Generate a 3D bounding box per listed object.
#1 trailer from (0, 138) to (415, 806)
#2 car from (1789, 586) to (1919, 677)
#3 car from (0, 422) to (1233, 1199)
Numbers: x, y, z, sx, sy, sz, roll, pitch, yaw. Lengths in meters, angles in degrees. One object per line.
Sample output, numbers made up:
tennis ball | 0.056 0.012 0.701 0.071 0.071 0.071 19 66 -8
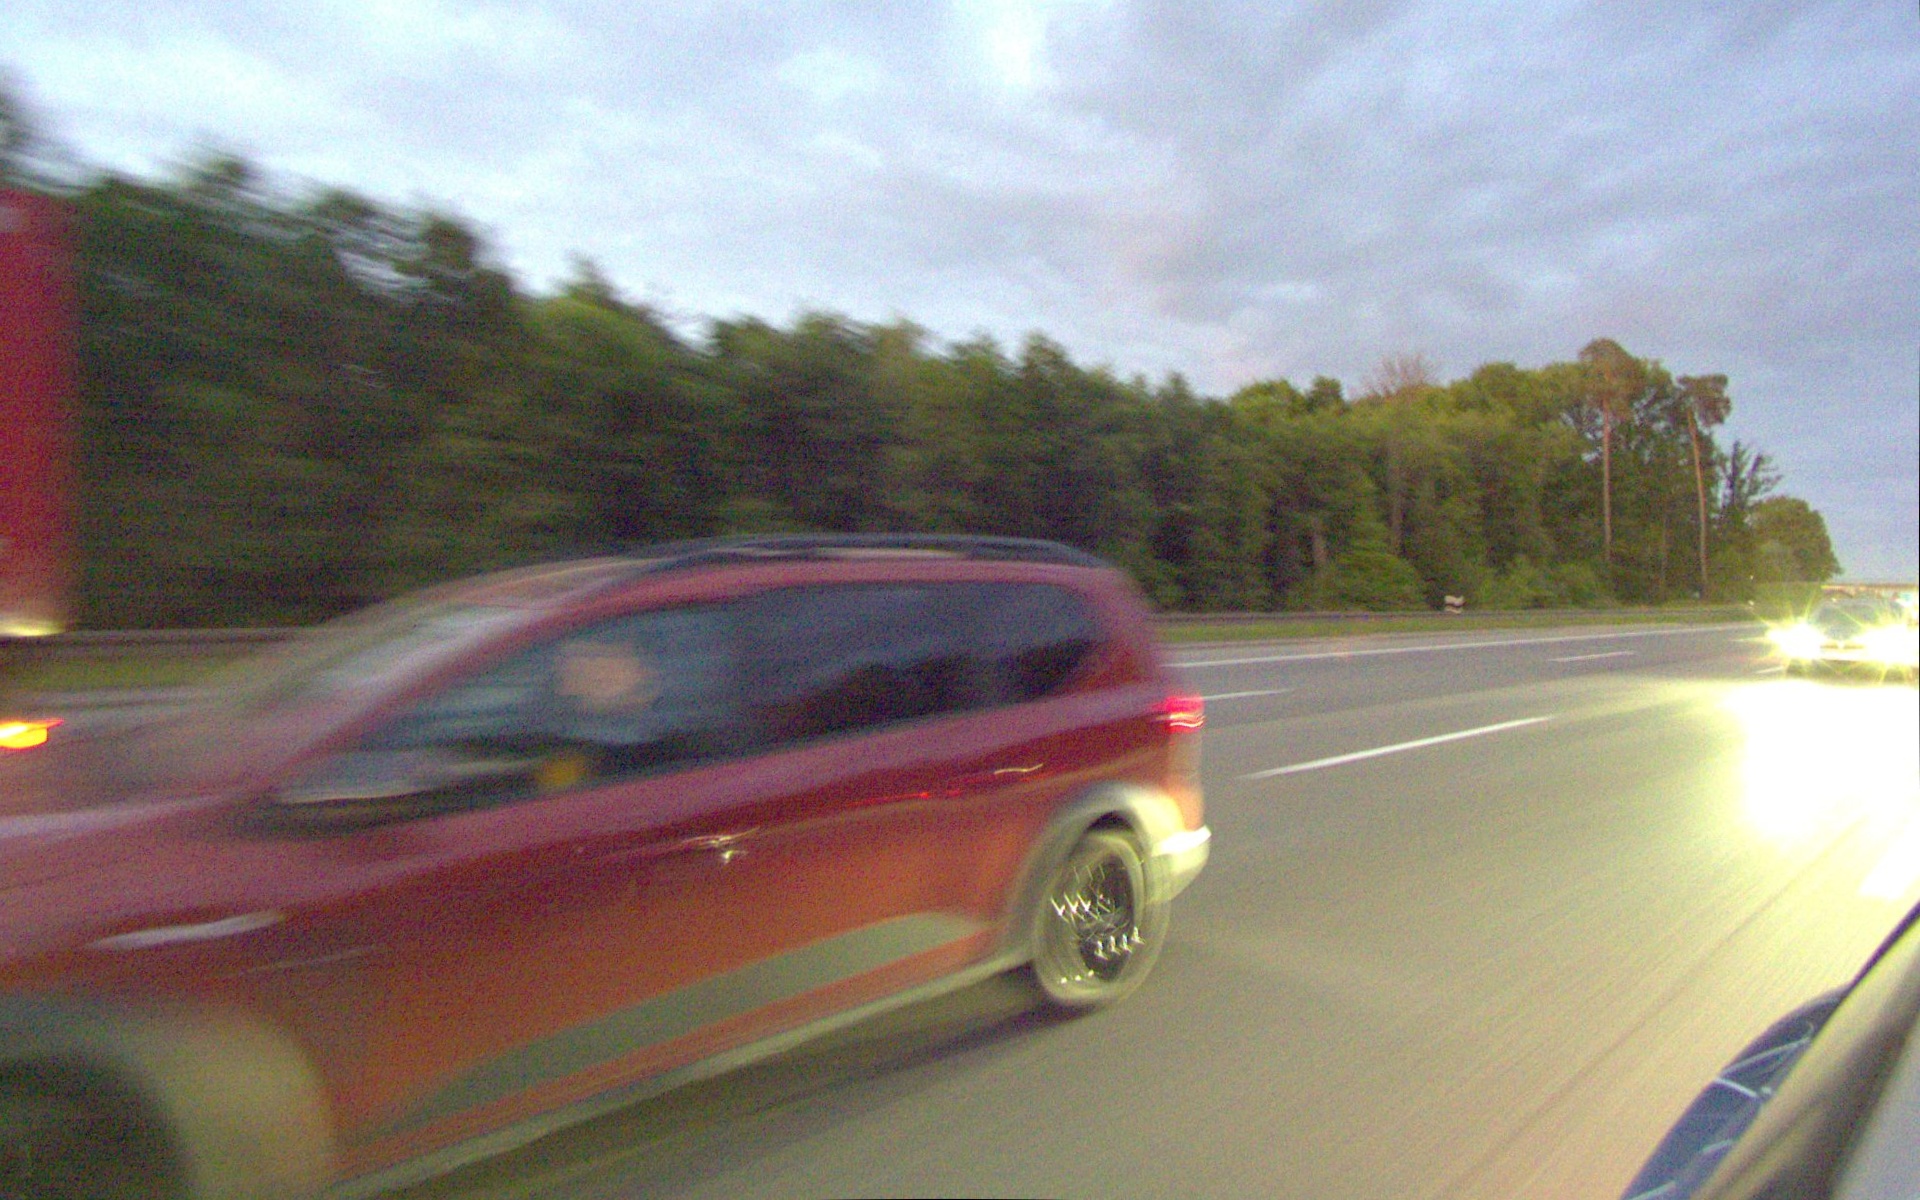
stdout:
trailer | -9.006 -0.802 5.628 10.174 4.152 2.913 0 1 -40
car | 18.439 0.529 20.419 5.142 1.556 1.912 -1 2 -42
car | -1.478 0.543 2.953 4.966 1.664 1.905 -3 -1 -41
